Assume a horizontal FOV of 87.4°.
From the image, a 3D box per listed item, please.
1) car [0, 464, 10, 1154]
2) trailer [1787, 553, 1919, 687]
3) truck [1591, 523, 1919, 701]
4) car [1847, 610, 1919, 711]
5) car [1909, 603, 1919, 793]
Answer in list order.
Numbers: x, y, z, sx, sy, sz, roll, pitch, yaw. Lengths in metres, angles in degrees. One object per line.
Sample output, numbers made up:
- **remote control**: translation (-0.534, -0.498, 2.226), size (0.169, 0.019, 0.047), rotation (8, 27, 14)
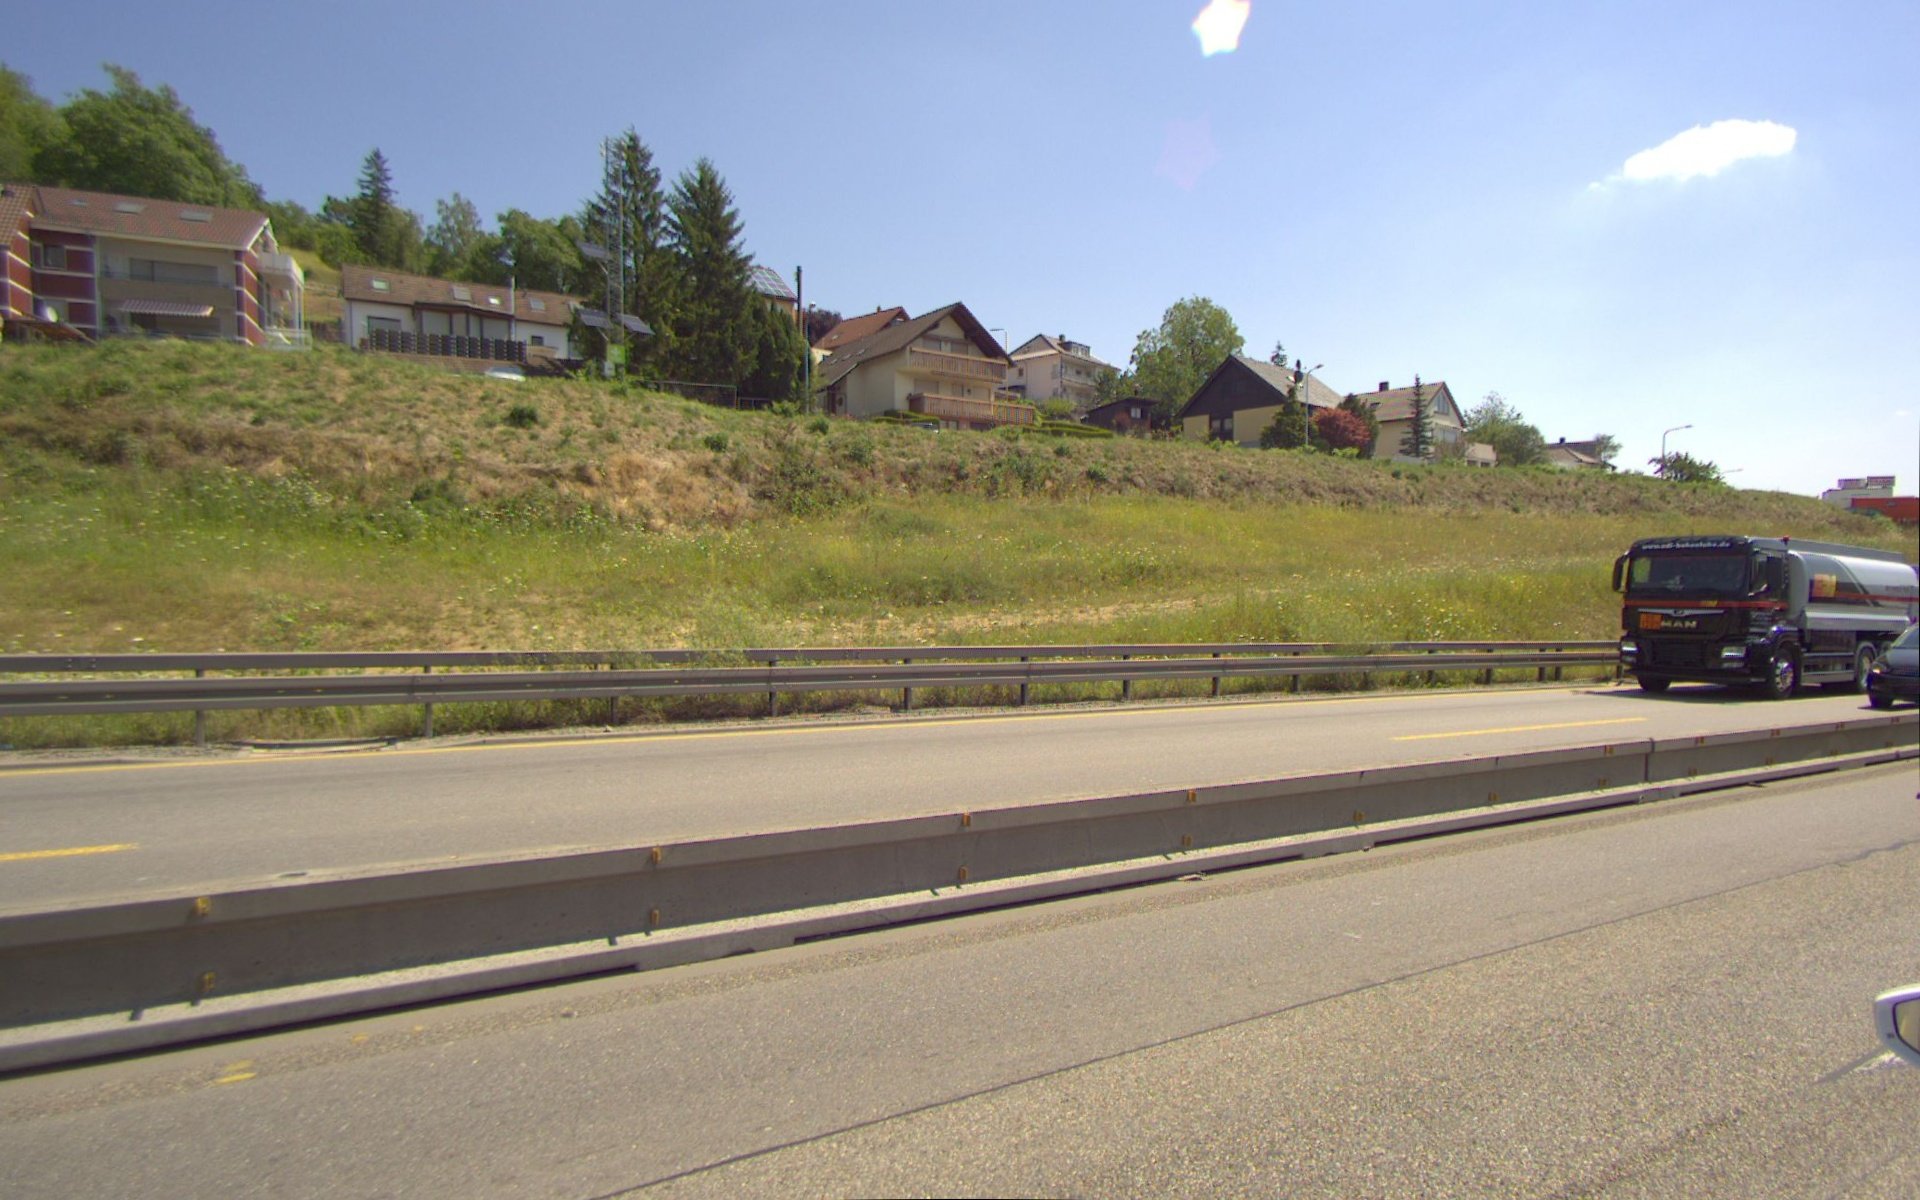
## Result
- **car**: translation (-3.993, 0.521, 0.649), size (4.598, 1.741, 1.767), rotation (0, 0, -31)
- **trailer**: translation (23.832, 0.496, 25.316), size (6.296, 3.041, 2.600), rotation (1, 0, -31)
- **truck**: translation (17.230, 0.280, 21.337), size (8.855, 3.185, 2.712), rotation (1, 0, -31)
- **car**: translation (17.751, 1.053, 17.841), size (4.447, 1.657, 1.710), rotation (1, 0, -31)
- **car**: translation (10.601, 0.891, 9.037), size (4.447, 1.639, 1.870), rotation (2, -1, -31)
